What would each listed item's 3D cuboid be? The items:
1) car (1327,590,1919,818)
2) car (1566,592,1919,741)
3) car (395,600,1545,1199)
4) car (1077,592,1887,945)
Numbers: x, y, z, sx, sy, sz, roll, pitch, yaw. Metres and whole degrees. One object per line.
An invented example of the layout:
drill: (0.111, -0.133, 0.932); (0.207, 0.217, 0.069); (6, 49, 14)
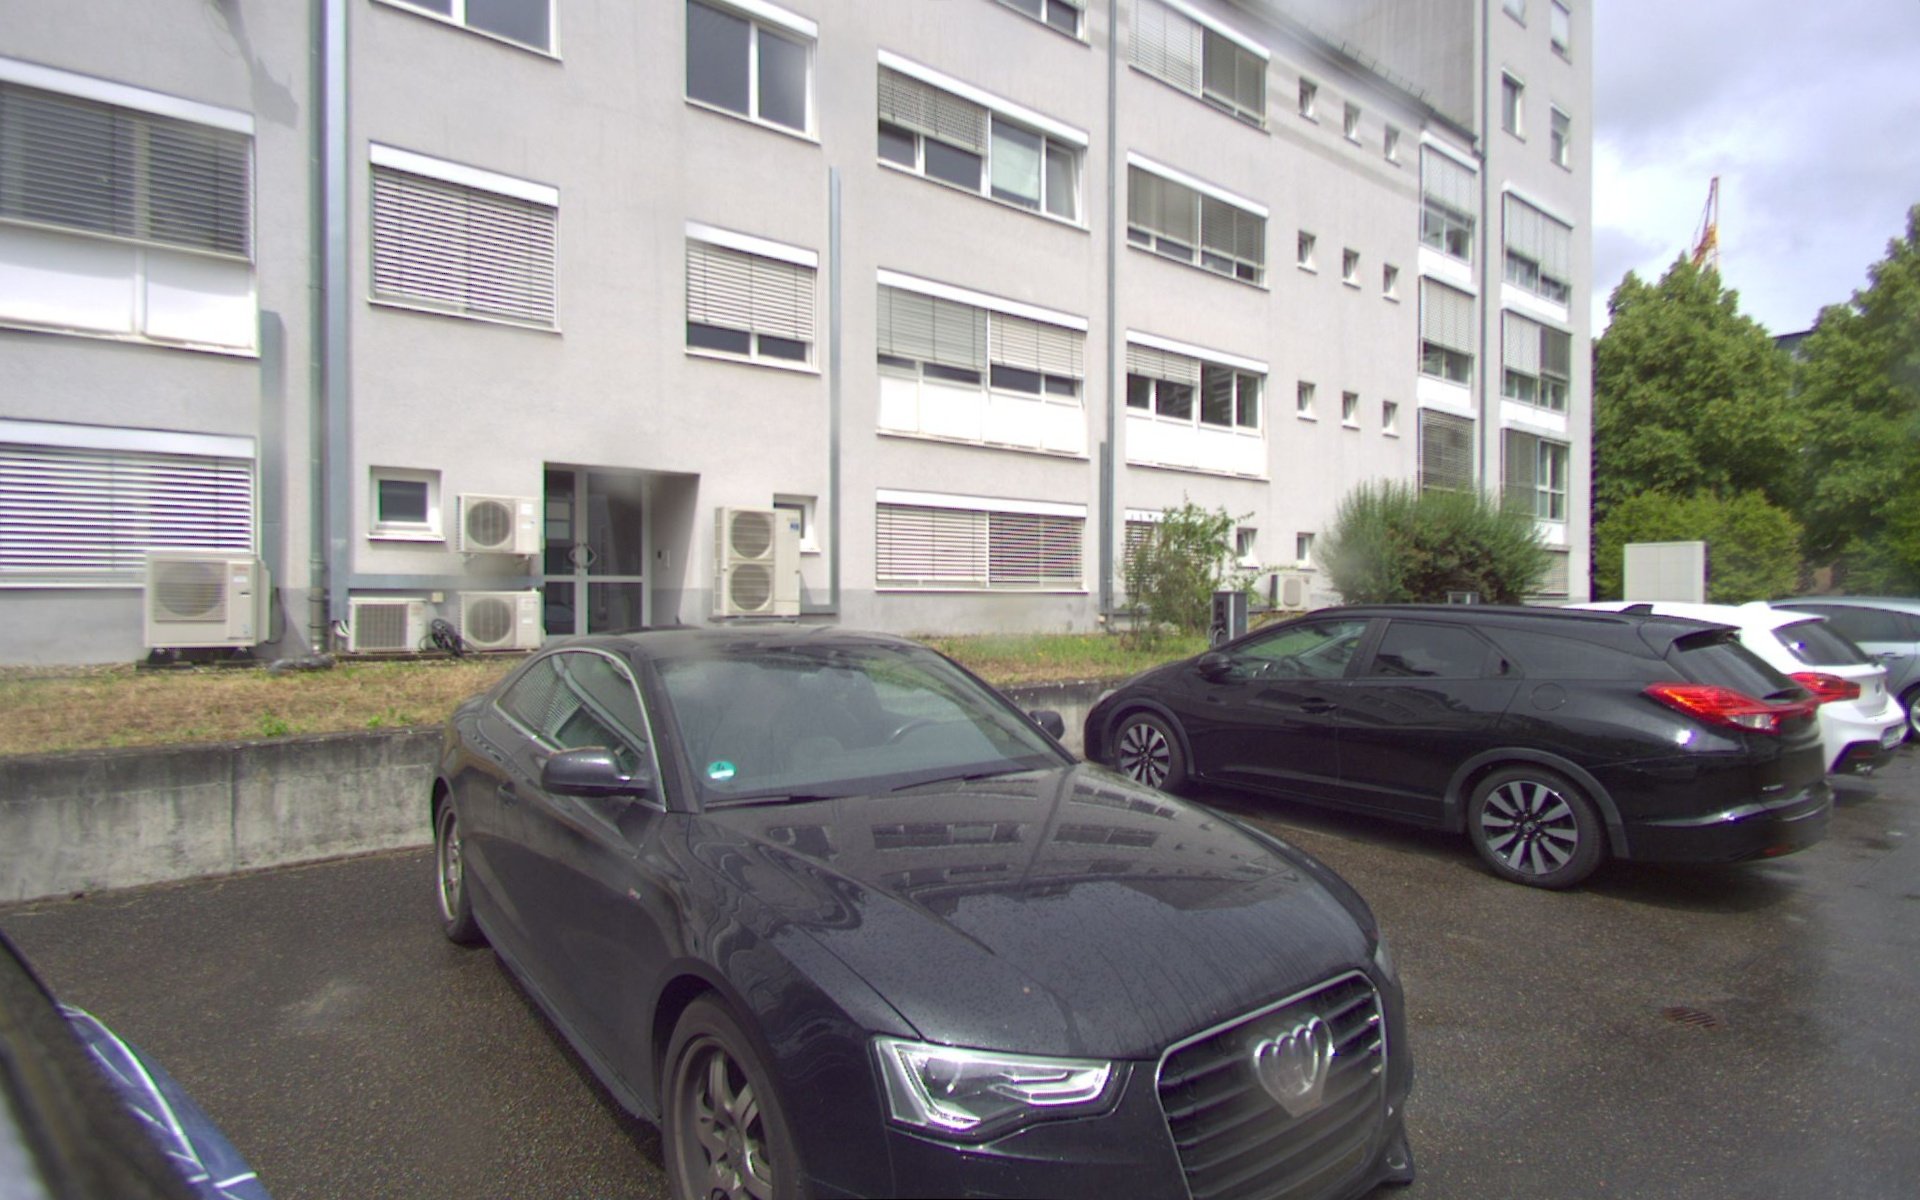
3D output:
car: (5.494, 0.658, 8.751); (1.669, 1.453, 4.135); (-1, 1, -37)
car: (9.616, 0.658, 11.528); (1.735, 1.453, 4.324); (-1, 1, -39)
car: (-0.680, 0.726, 3.671); (1.735, 1.362, 4.539); (-1, 1, -38)
car: (2.909, 0.701, 6.533); (1.735, 1.453, 4.324); (-1, 1, -39)
